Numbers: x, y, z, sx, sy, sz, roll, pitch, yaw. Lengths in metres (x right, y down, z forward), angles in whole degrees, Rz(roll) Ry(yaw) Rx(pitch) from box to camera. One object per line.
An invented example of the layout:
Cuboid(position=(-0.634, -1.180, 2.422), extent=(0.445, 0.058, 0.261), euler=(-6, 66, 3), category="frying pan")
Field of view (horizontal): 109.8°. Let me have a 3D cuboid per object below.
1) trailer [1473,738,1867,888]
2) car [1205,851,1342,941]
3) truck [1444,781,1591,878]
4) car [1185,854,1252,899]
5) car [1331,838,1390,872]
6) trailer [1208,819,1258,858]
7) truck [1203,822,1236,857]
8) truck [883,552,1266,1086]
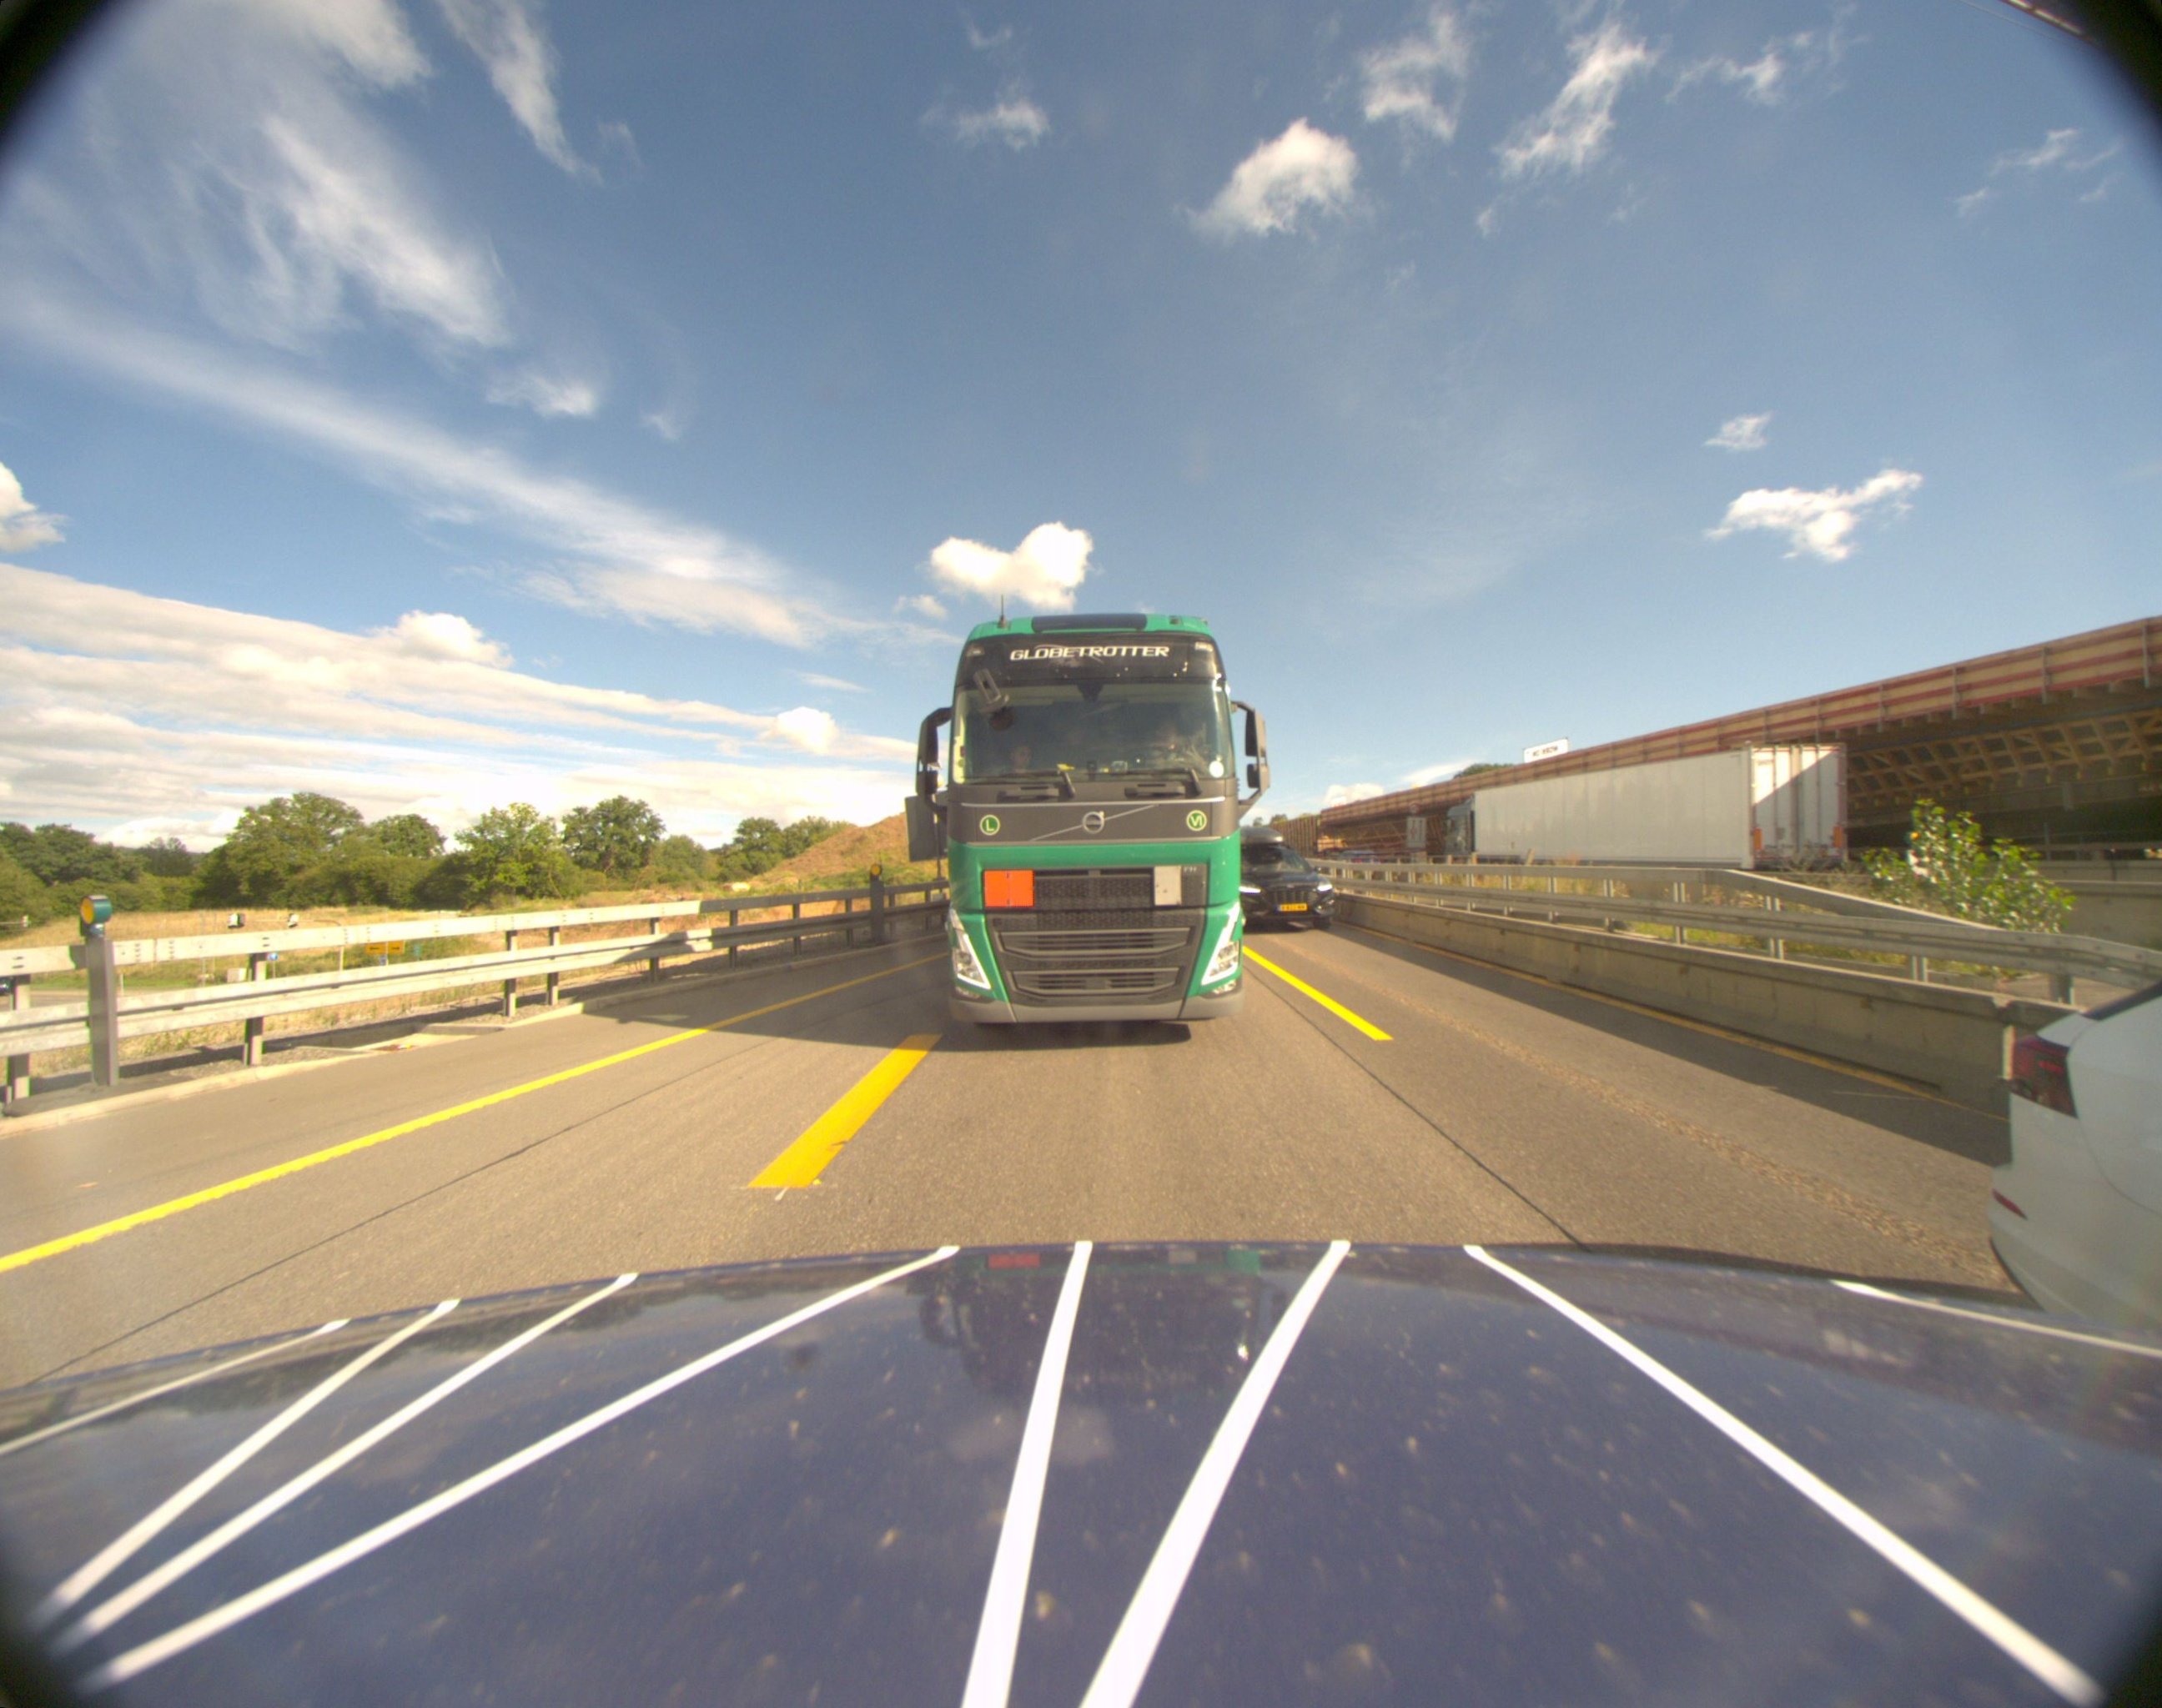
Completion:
Cuboid(position=(19.044, -1.155, 26.839), extent=(2.828, 3.819, 13.799), euler=(-2, 1, -2), category="trailer")
Cuboid(position=(3.778, 0.737, 15.723), extent=(1.804, 1.533, 4.384), euler=(-1, 1, 1), category="car")
Cuboid(position=(18.864, -1.010, 33.325), extent=(2.784, 3.766, 6.016), euler=(-2, 1, -2), category="truck")
Cuboid(position=(5.189, 0.805, 29.235), extent=(1.948, 1.422, 4.505), euler=(-2, 1, 3), category="car")
Cuboid(position=(15.438, 0.040, 42.217), extent=(1.998, 1.716, 4.123), euler=(-2, 1, 5), category="car")
Cuboid(position=(17.471, -1.725, 88.585), extent=(2.694, 4.132, 13.808), euler=(-2, 1, -1), category="trailer")
Cuboid(position=(17.324, -1.798, 95.457), extent=(2.719, 4.114, 5.969), euler=(-2, 1, -1), category="truck")
Cuboid(position=(-0.092, -0.311, 10.753), extent=(2.664, 3.825, 10.315), euler=(-2, 1, -1), category="truck")
